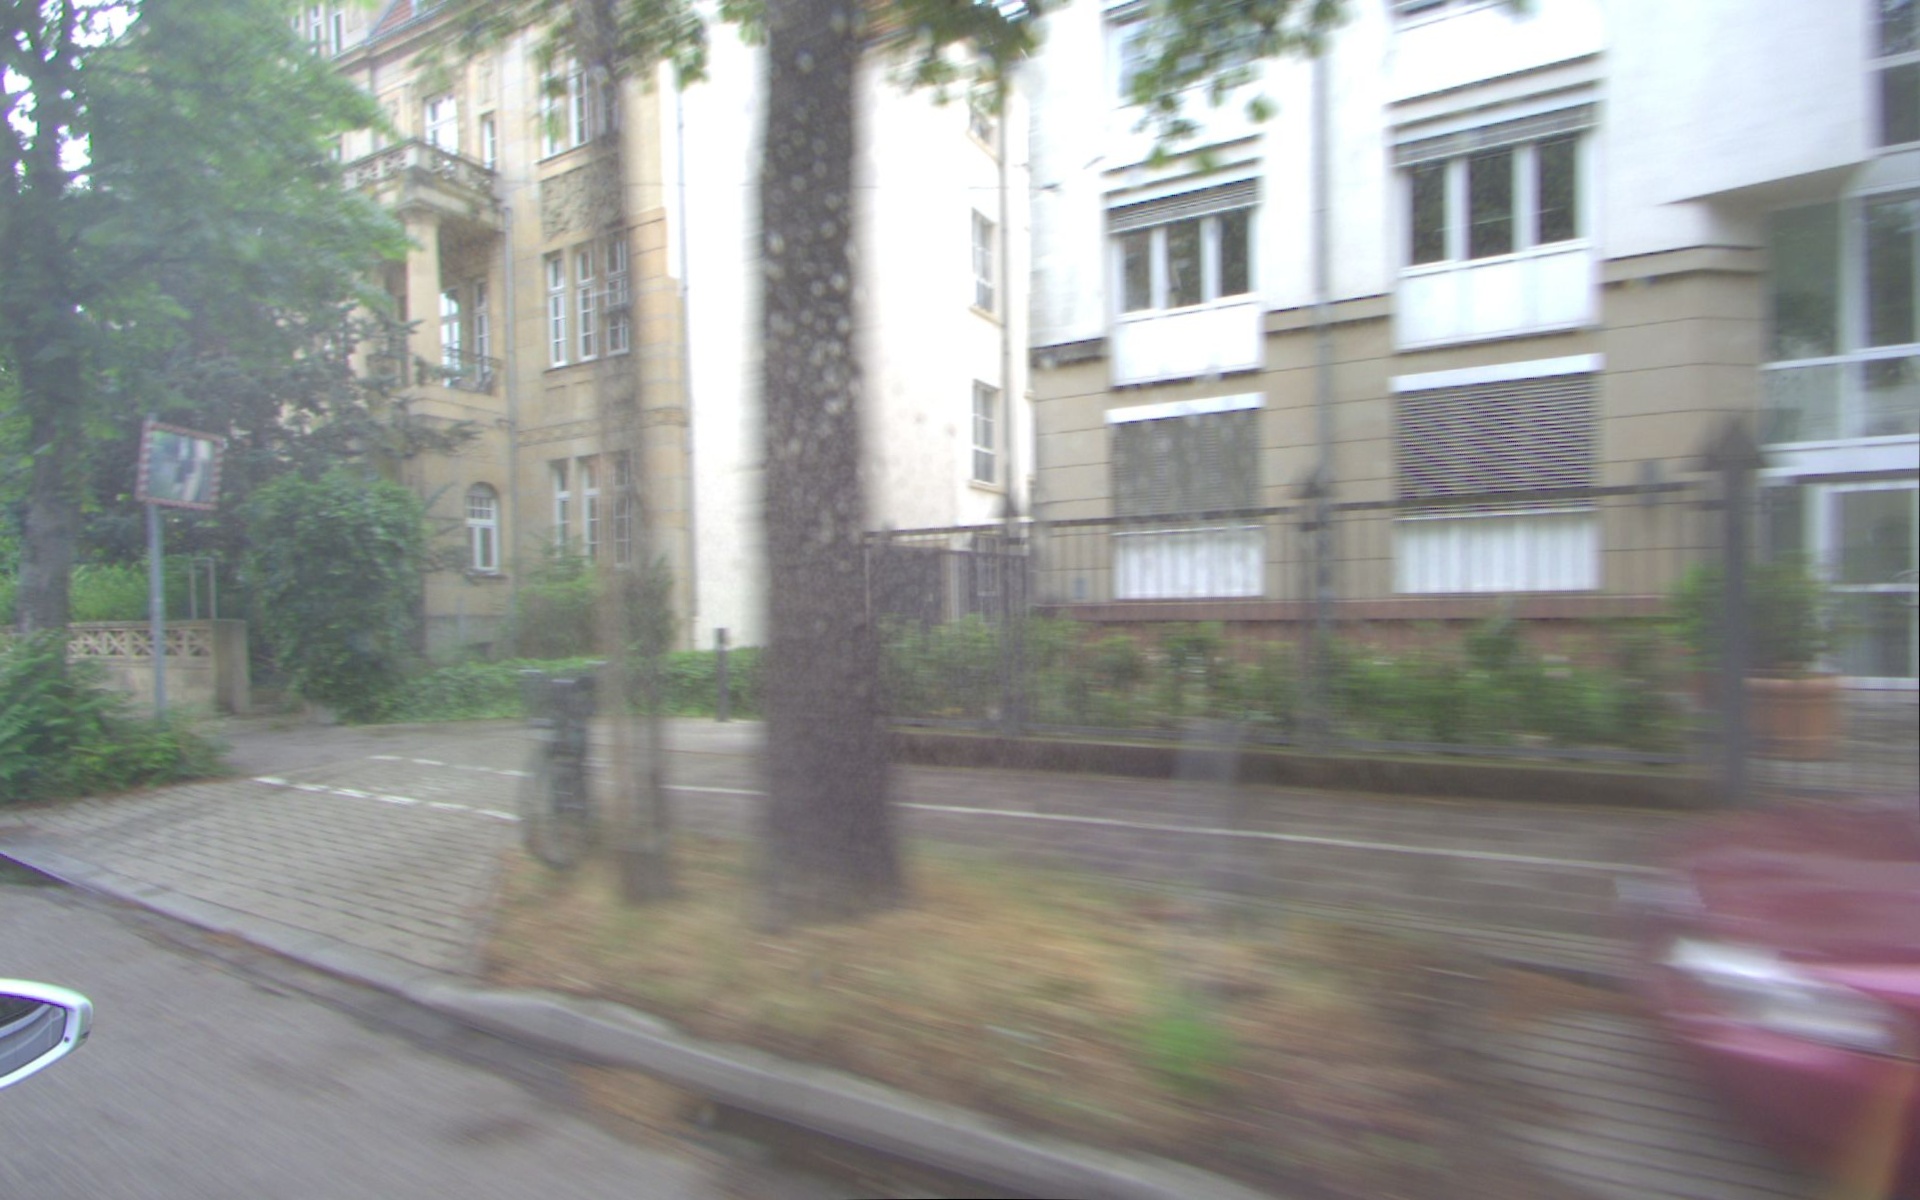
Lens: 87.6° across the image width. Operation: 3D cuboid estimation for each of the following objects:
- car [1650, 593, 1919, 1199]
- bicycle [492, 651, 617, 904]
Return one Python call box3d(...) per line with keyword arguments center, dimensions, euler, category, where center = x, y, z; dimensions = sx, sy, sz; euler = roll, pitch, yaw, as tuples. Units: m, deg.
box3d(center=(3.789, 0.694, 1.708), dimensions=(4.164, 1.418, 1.599), euler=(-1, 2, 30), category="car")
box3d(center=(-2.354, 0.934, 5.964), dimensions=(0.425, 1.213, 1.902), euler=(-1, -1, -15), category="bicycle")
